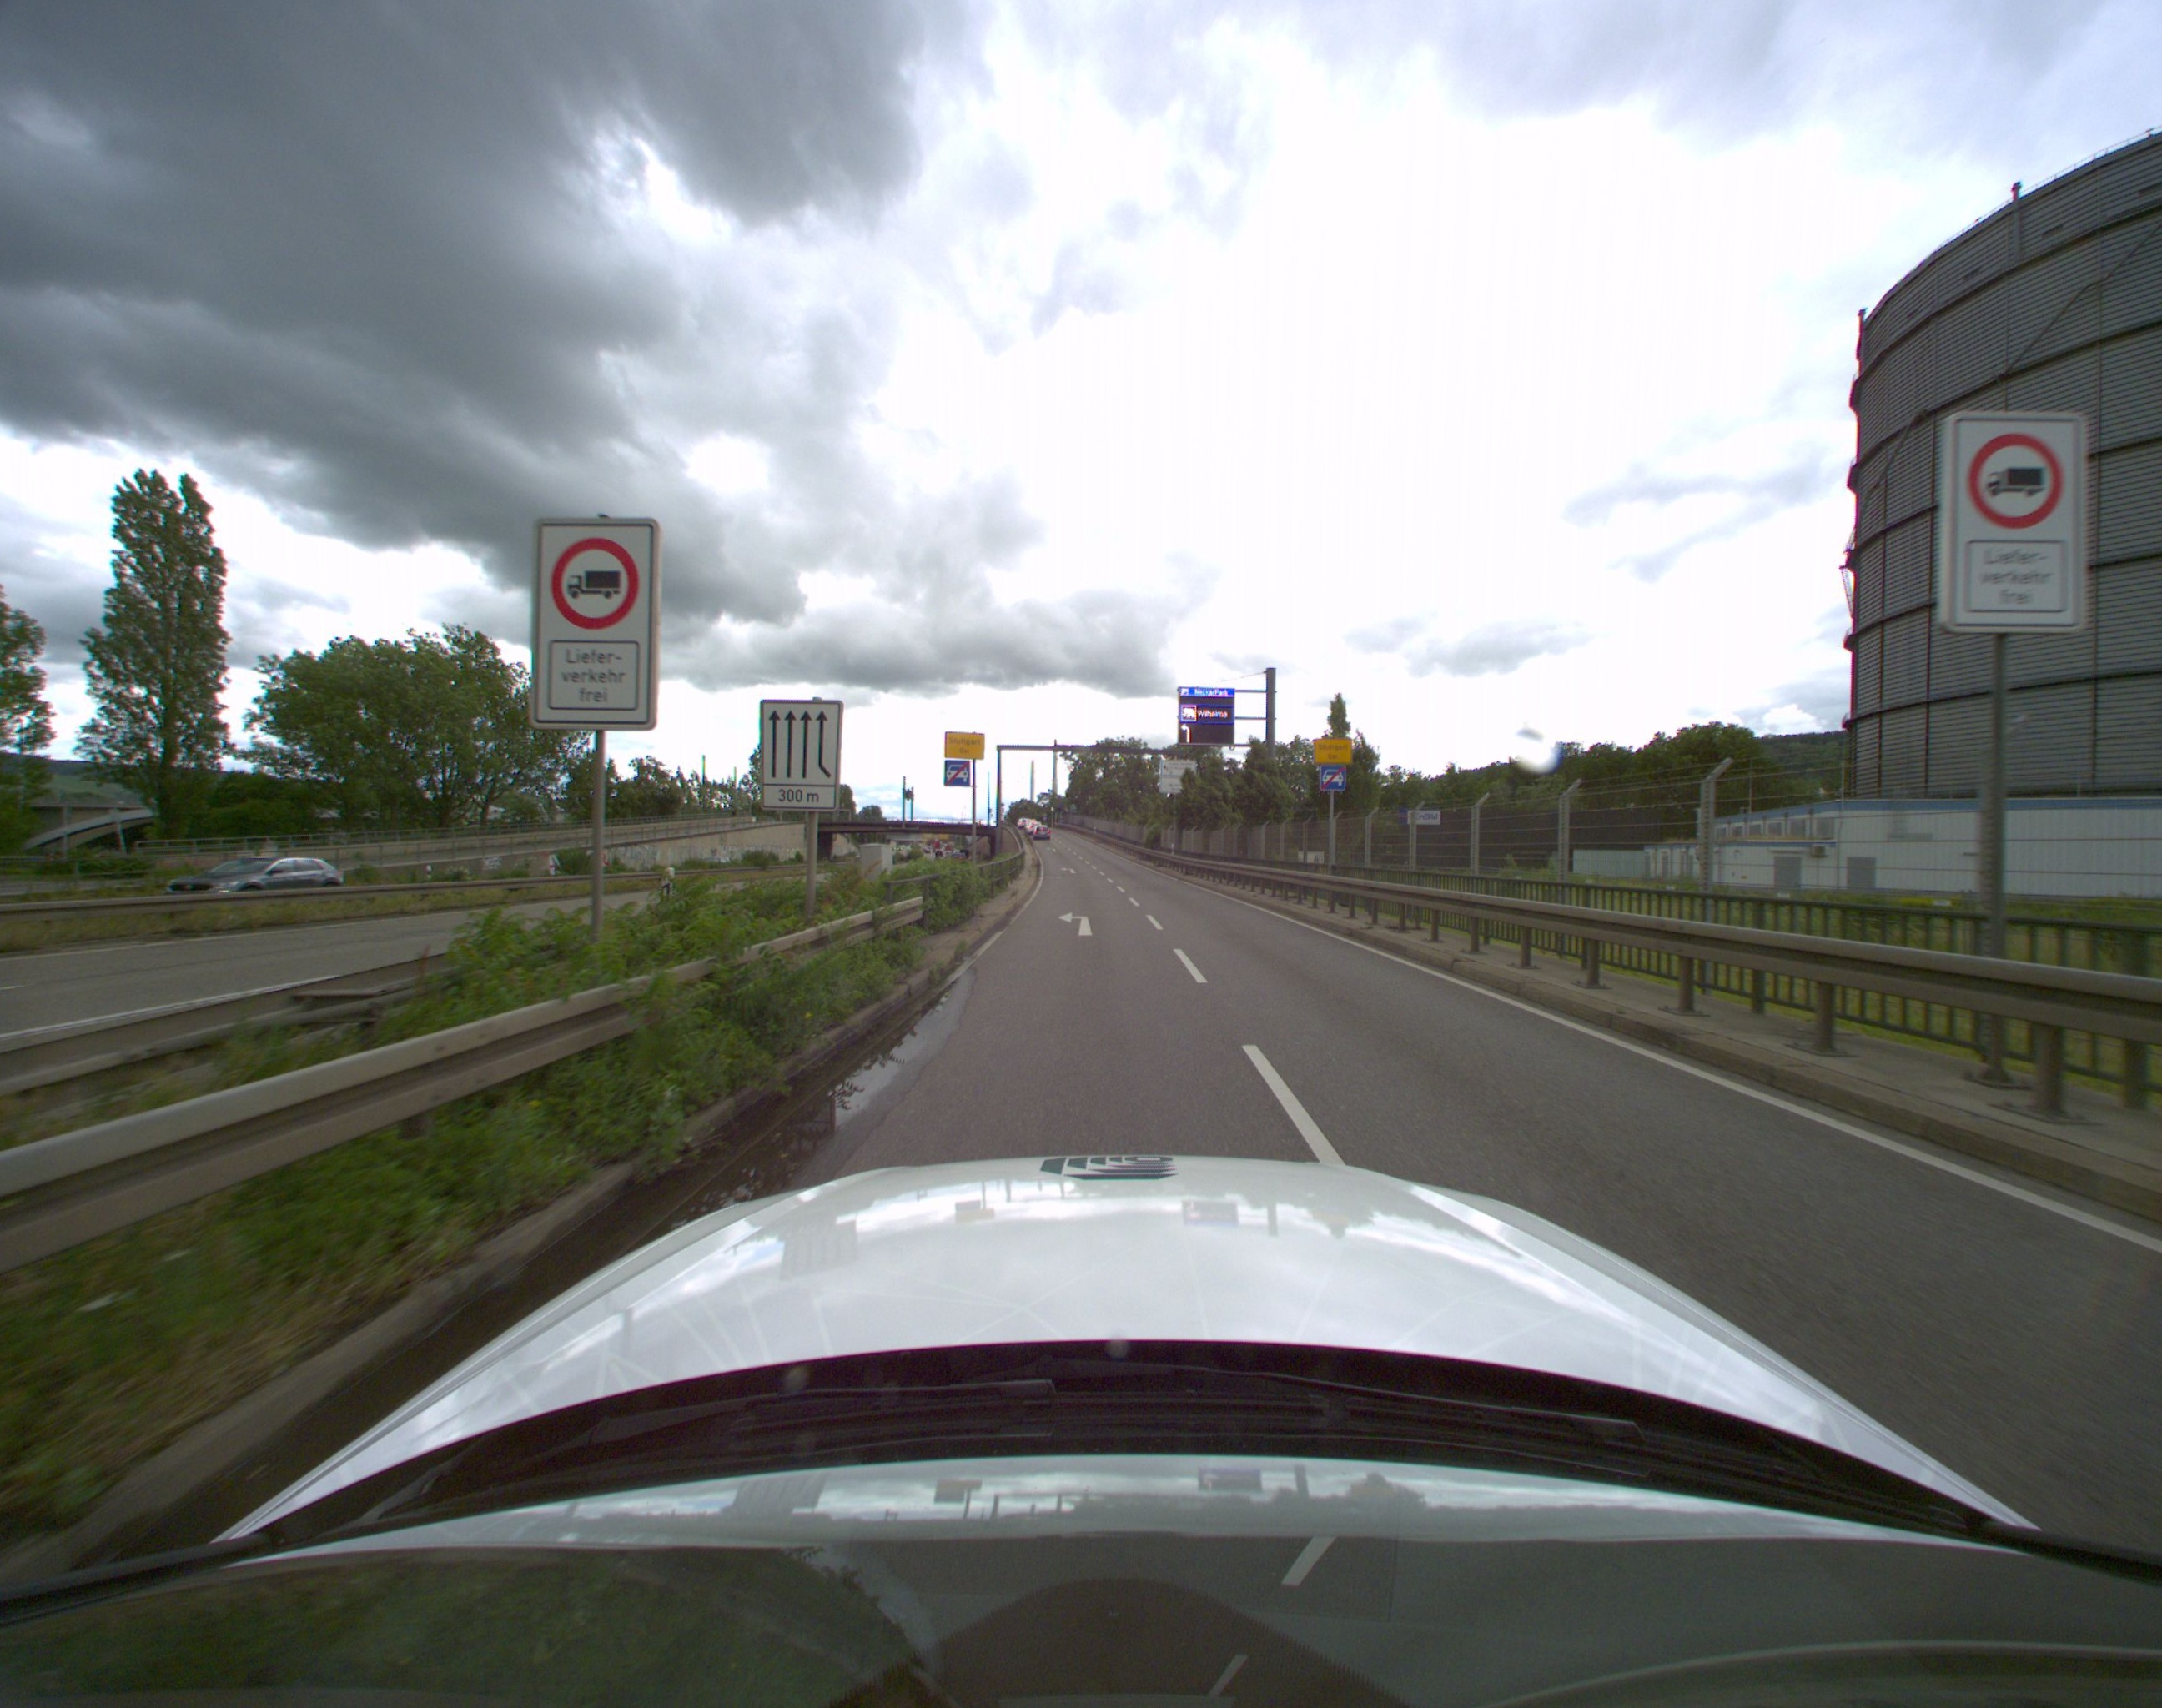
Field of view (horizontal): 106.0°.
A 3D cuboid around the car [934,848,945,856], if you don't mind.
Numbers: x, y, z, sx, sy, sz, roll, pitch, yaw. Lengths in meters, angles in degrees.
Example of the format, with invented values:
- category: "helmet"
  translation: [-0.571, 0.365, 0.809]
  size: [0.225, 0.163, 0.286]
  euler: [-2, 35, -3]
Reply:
- category: "car"
  translation: [-32.932, -0.508, 189.648]
  size: [1.989, 1.683, 3.996]
  euler: [1, 1, -3]

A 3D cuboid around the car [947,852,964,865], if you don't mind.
- category: "car"
  translation: [-15.360, 0.492, 99.681]
  size: [1.993, 1.420, 3.988]
  euler: [1, 1, -9]

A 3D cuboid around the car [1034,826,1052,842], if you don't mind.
- category: "car"
  translation: [-4.149, -2.189, 89.848]
  size: [1.744, 1.580, 4.085]
  euler: [1, 0, 1]

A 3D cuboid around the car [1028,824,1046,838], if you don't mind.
- category: "car"
  translation: [-5.443, -2.854, 101.098]
  size: [1.991, 1.602, 3.994]
  euler: [-1, 4, -6]

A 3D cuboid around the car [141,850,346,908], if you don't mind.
- category: "car"
  translation: [-24.245, 0.681, 23.844]
  size: [1.990, 1.522, 3.993]
  euler: [1, 0, -5]

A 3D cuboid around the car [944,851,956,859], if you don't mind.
- category: "car"
  translation: [-27.455, 0.211, 170.285]
  size: [1.989, 1.683, 3.996]
  euler: [1, 1, -3]
